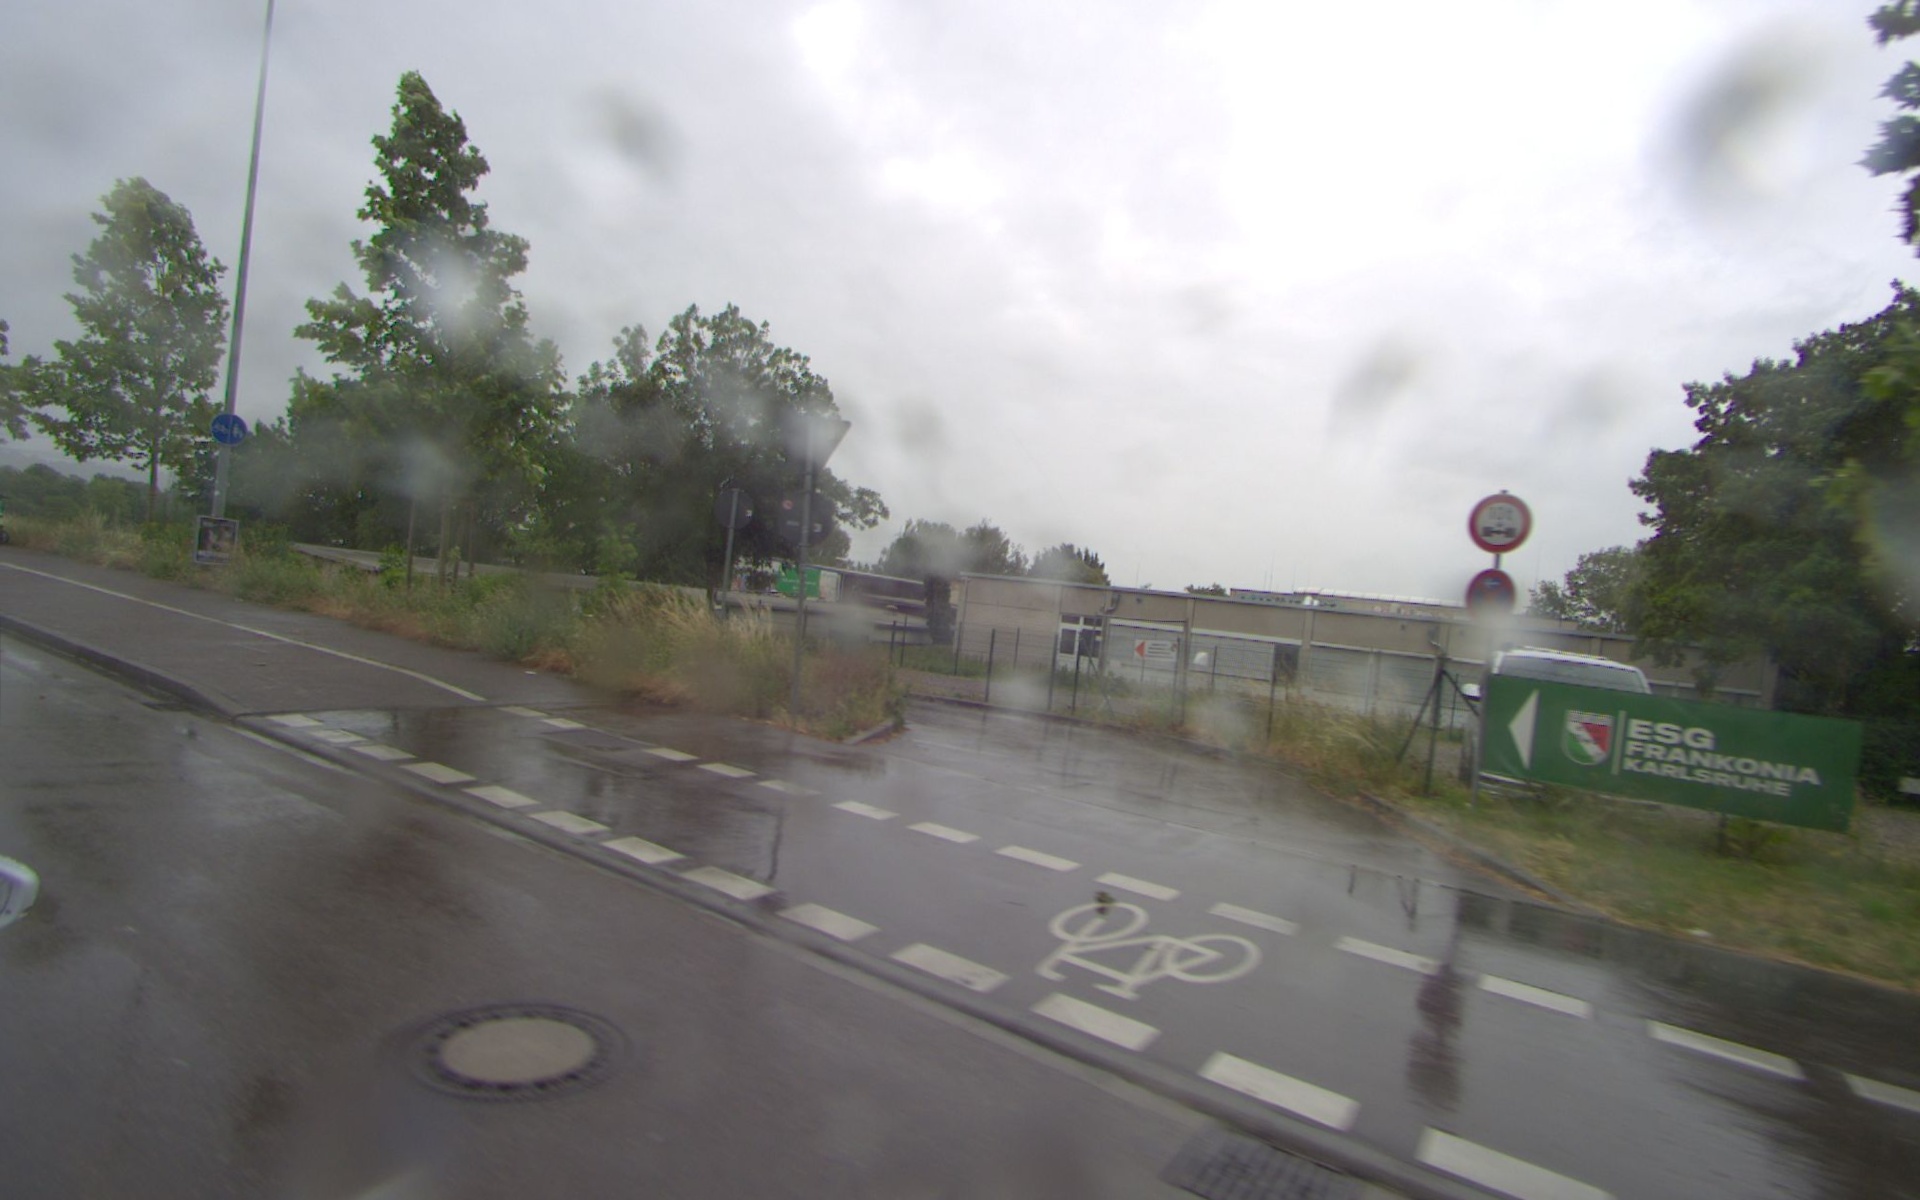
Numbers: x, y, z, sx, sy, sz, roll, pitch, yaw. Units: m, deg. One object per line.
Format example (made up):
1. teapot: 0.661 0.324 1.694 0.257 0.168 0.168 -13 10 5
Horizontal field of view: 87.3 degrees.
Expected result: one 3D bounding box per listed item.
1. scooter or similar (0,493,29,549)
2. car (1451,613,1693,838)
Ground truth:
1. scooter or similar: -22.517 -1.896 23.455 1.536 1.210 0.644 7 0 28
2. car: 7.472 1.513 12.805 1.965 2.036 5.266 7 -2 27
